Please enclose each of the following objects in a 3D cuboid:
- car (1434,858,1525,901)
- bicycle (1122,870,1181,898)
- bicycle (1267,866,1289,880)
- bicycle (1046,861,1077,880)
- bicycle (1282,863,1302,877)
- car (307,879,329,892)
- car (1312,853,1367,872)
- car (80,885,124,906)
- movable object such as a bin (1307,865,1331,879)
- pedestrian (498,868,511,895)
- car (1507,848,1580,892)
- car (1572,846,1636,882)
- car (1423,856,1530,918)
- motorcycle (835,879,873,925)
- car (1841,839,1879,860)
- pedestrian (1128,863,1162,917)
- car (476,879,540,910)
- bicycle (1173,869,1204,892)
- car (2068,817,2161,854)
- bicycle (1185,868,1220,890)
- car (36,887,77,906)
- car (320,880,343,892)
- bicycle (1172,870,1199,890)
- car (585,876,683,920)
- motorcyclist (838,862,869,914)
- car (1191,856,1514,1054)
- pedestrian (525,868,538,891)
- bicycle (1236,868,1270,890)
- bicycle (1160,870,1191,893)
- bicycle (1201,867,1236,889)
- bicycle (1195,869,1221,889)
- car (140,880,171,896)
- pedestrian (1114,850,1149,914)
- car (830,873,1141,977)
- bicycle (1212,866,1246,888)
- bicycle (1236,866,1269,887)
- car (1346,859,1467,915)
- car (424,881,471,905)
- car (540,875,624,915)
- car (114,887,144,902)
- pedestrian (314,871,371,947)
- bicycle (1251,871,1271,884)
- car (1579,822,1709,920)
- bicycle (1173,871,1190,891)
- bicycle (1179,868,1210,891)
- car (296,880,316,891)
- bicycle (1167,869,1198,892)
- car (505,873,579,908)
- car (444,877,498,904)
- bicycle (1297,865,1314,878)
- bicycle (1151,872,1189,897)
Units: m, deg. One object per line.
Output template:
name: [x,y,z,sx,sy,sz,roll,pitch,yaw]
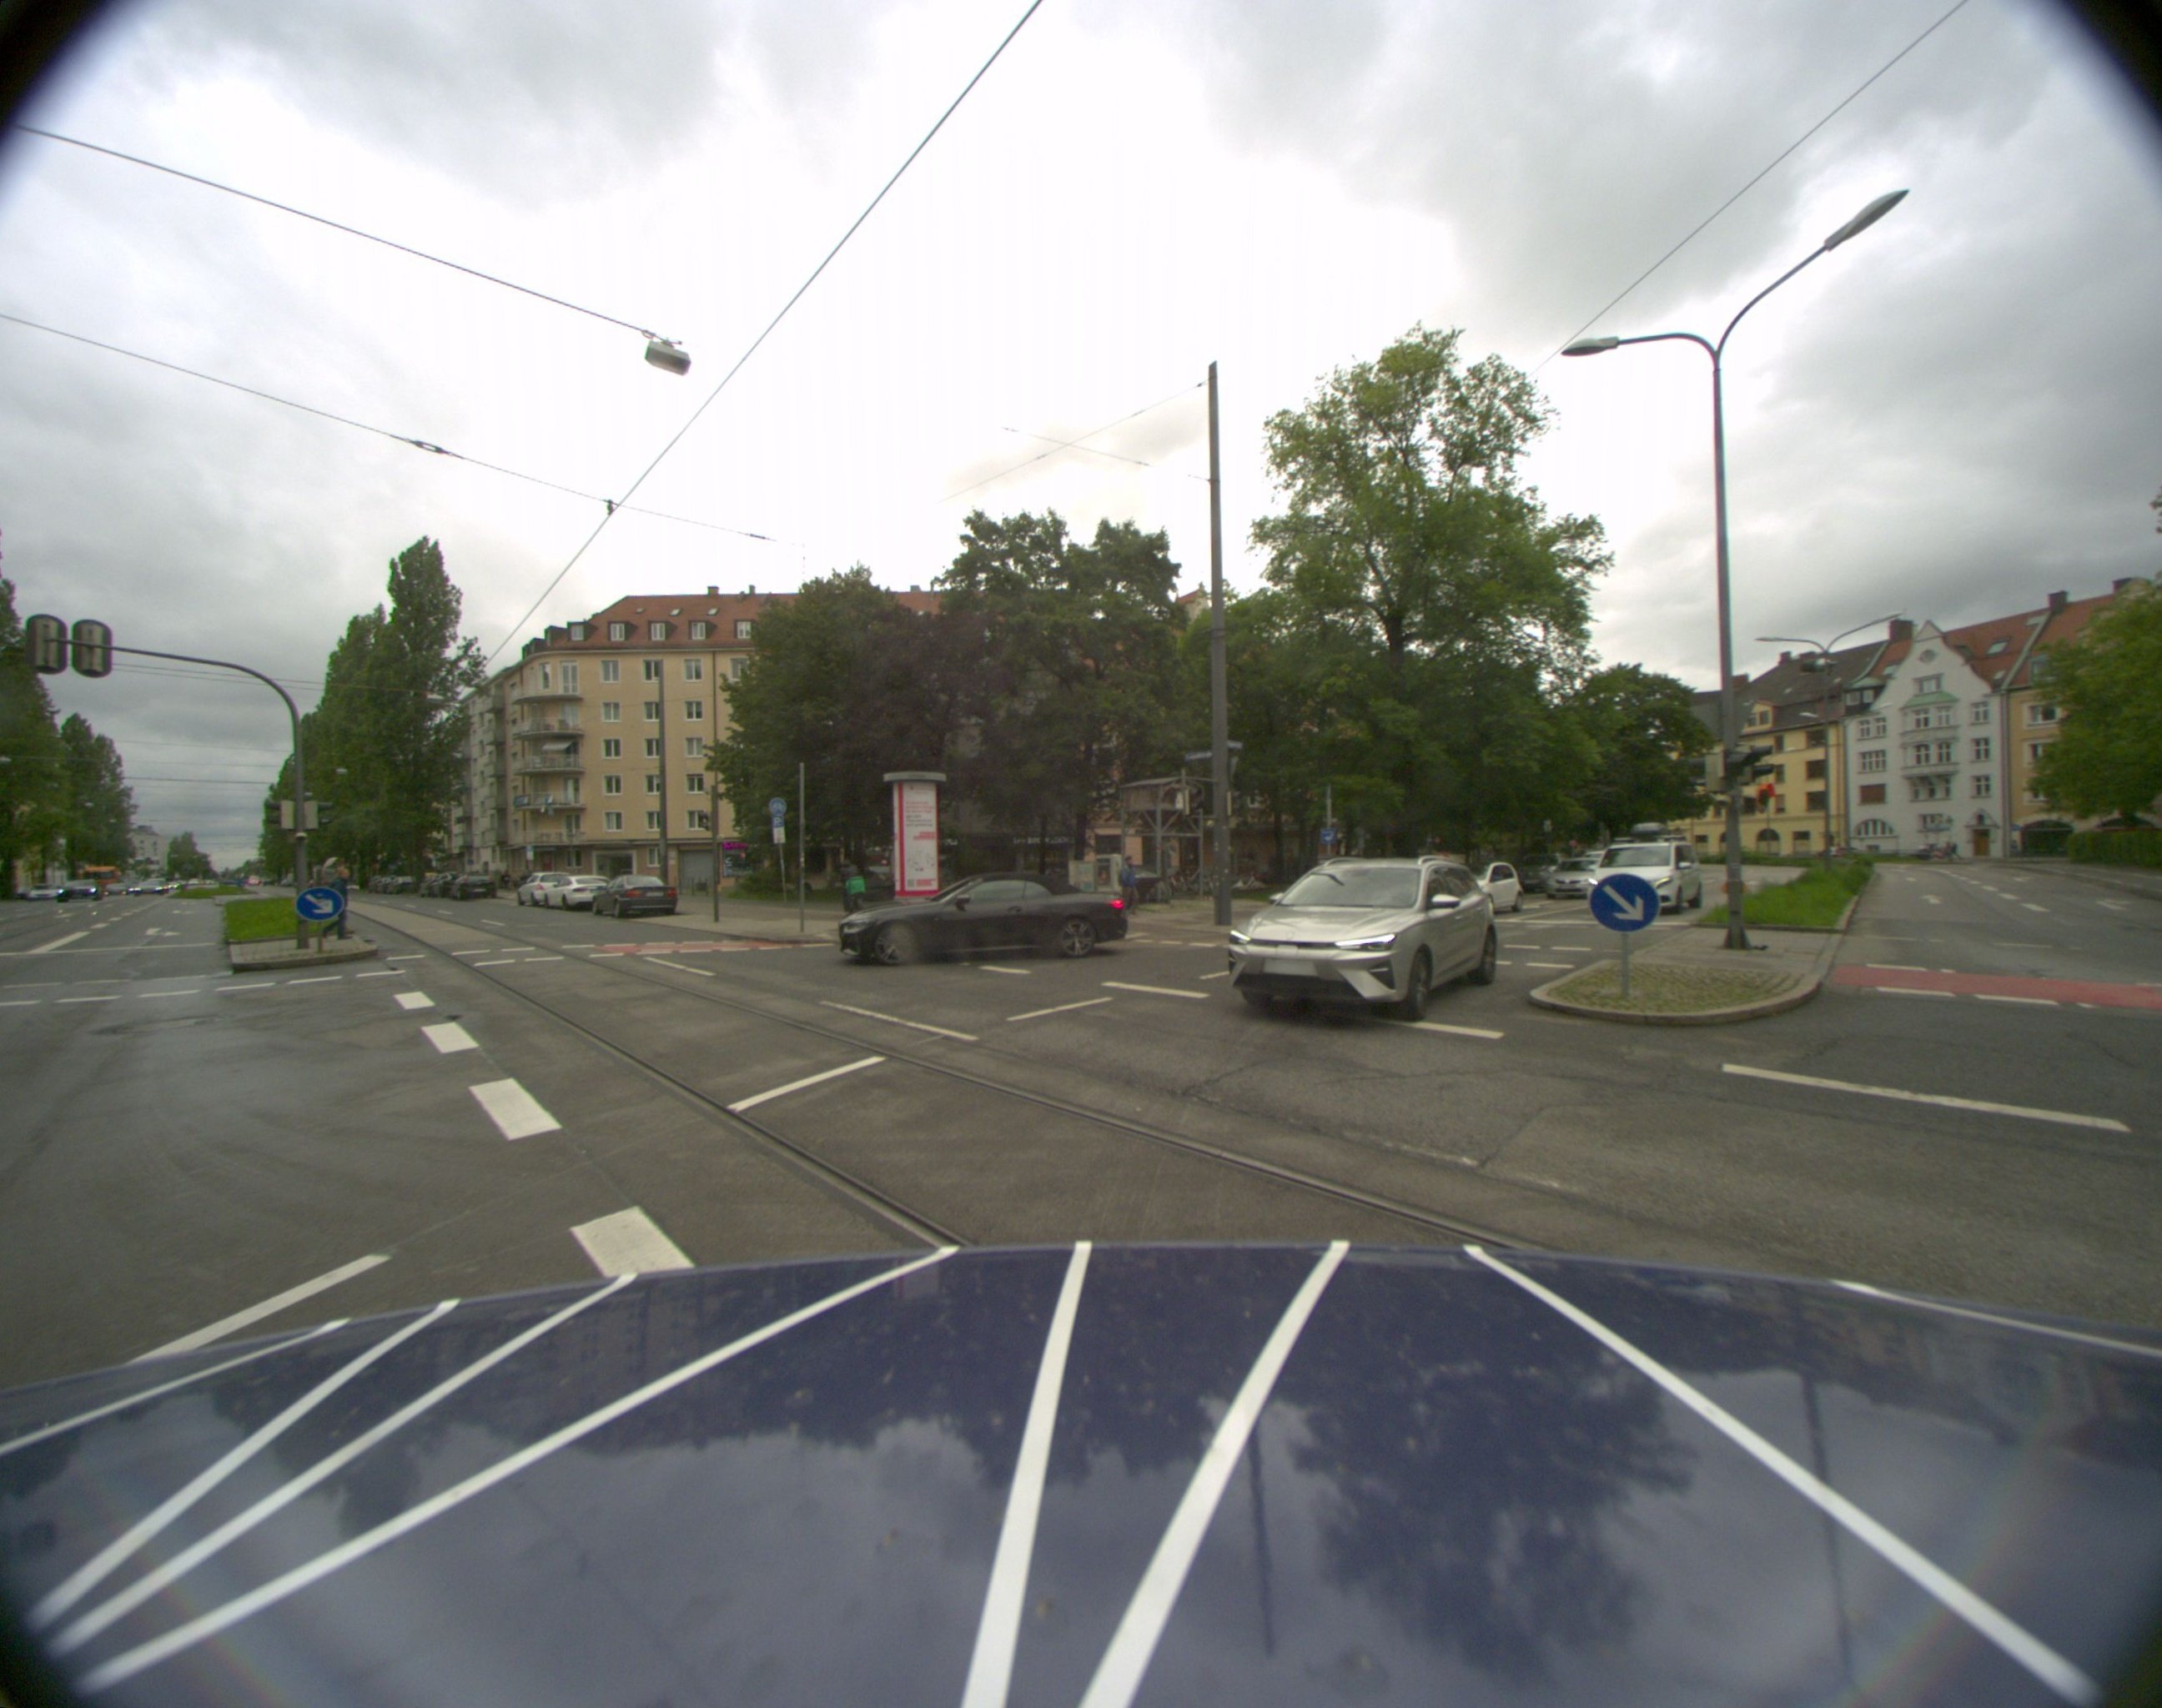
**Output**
car: [15.377,0.912,29.182,1.768,1.452,4.651,-1,0,45]
bicycle: [2.730,1.172,29.647,2.233,1.010,0.632,-3,-1,36]
bicycle: [10.702,1.033,41.329,0.319,0.719,1.176,-3,-1,-34]
bicycle: [-1.448,1.233,56.325,2.248,1.282,0.506,-3,0,-7]
bicycle: [11.625,0.869,41.792,1.180,0.719,0.318,-2,-1,-32]
car: [-107.294,4.400,106.888,3.989,1.707,1.822,-4,-1,40]
car: [23.204,0.798,68.358,1.864,1.458,4.433,-2,-1,-34]
car: [-78.381,3.310,60.876,4.127,1.477,1.790,-1,1,42]
movable object such as a bin: [14.862,1.133,47.527,0.775,0.867,1.178,-1,0,-35]
pedestrian: [-43.366,2.072,57.162,0.629,2.001,0.547,-3,0,37]
car: [20.772,0.658,34.027,1.932,1.809,4.564,-1,0,43]
car: [28.912,0.499,41.921,5.034,1.845,1.844,-1,0,-43]
car: [11.231,0.871,21.449,1.771,1.515,4.217,-3,-1,40]
motorcycle: [-6.530,1.340,21.791,0.631,1.163,2.025,-3,1,-27]
car: [64.007,-0.325,62.419,4.950,1.628,2.104,0,0,-44]
pedestrian: [1.749,0.967,20.713,0.546,1.396,0.719,-3,3,-44]
car: [-28.490,1.969,37.717,4.363,1.399,1.734,-1,0,42]
bicycle: [4.352,1.072,30.899,0.314,0.888,1.409,-3,-1,-36]
car: [76.196,-1.303,54.697,6.066,2.574,2.114,0,0,22]
bicycle: [5.077,1.050,31.757,1.409,0.888,0.314,-3,-1,33]
car: [-93.161,3.841,69.140,4.127,1.477,1.790,-1,1,42]
car: [-98.808,4.254,100.152,3.989,1.461,1.822,-4,-1,40]
bicycle: [5.097,1.244,37.004,1.415,0.888,0.312,-2,-1,-38]
car: [-15.195,1.432,25.767,3.989,1.308,1.734,-1,0,42]
motorcyclist: [-6.504,0.951,21.715,0.621,1.434,0.880,-3,1,-27]
car: [3.157,0.851,8.273,1.771,1.515,4.217,-3,-1,42]
pedestrian: [-40.210,1.859,55.599,0.650,1.655,0.547,-3,0,37]
bicycle: [7.624,1.097,33.733,1.410,0.888,0.313,-3,0,10]
bicycle: [3.780,1.094,30.455,0.314,0.888,1.409,-3,-1,-36]
bicycle: [5.878,1.020,32.417,1.409,0.888,0.314,-2,0,21]
bicycle: [5.977,1.179,35.723,1.415,0.888,0.312,-2,-1,-38]
car: [-95.730,3.467,78.595,4.127,1.477,1.790,-1,1,42]
pedestrian: [1.347,0.729,20.202,0.546,1.652,0.718,-3,5,-44]
car: [-1.580,1.081,12.616,4.801,1.381,1.727,-1,0,-16]
bicycle: [6.446,1.002,33.112,1.410,0.888,0.313,-3,0,10]
bicycle: [7.716,1.003,34.237,1.410,0.888,0.313,-3,0,10]
car: [10.553,0.997,24.495,4.563,1.540,1.831,-1,0,-42]
car: [-41.379,2.517,49.611,4.196,1.399,1.734,-1,0,42]
car: [-19.827,1.556,30.119,4.363,1.399,1.734,-1,0,42]
car: [-108.424,4.567,86.570,4.127,1.477,1.790,-1,1,42]
pedestrian: [-16.721,1.233,17.224,0.551,1.652,0.702,-3,0,-3]
bicycle: [10.024,1.319,42.351,0.319,0.719,1.176,-3,-1,-34]
car: [15.206,0.387,20.410,4.955,2.337,1.909,-1,0,-43]
bicycle: [4.694,1.241,35.518,0.313,0.888,1.412,-3,-1,-9]
bicycle: [4.651,1.062,31.160,0.314,0.888,1.409,-3,-1,-36]
car: [-130.304,5.281,127.684,3.989,1.695,2.004,-4,-1,40]
bicycle: [4.072,1.083,30.646,0.314,0.888,1.409,-3,-1,-36]
car: [-23.884,1.583,33.620,4.363,1.399,1.734,-1,0,42]
car: [-35.340,2.069,43.999,4.462,1.399,1.734,-1,0,42]
bicycle: [12.603,0.974,42.696,0.319,0.719,1.177,-3,-1,-17]
bicycle: [3.411,1.169,29.091,1.413,0.888,0.313,-1,-1,-17]
